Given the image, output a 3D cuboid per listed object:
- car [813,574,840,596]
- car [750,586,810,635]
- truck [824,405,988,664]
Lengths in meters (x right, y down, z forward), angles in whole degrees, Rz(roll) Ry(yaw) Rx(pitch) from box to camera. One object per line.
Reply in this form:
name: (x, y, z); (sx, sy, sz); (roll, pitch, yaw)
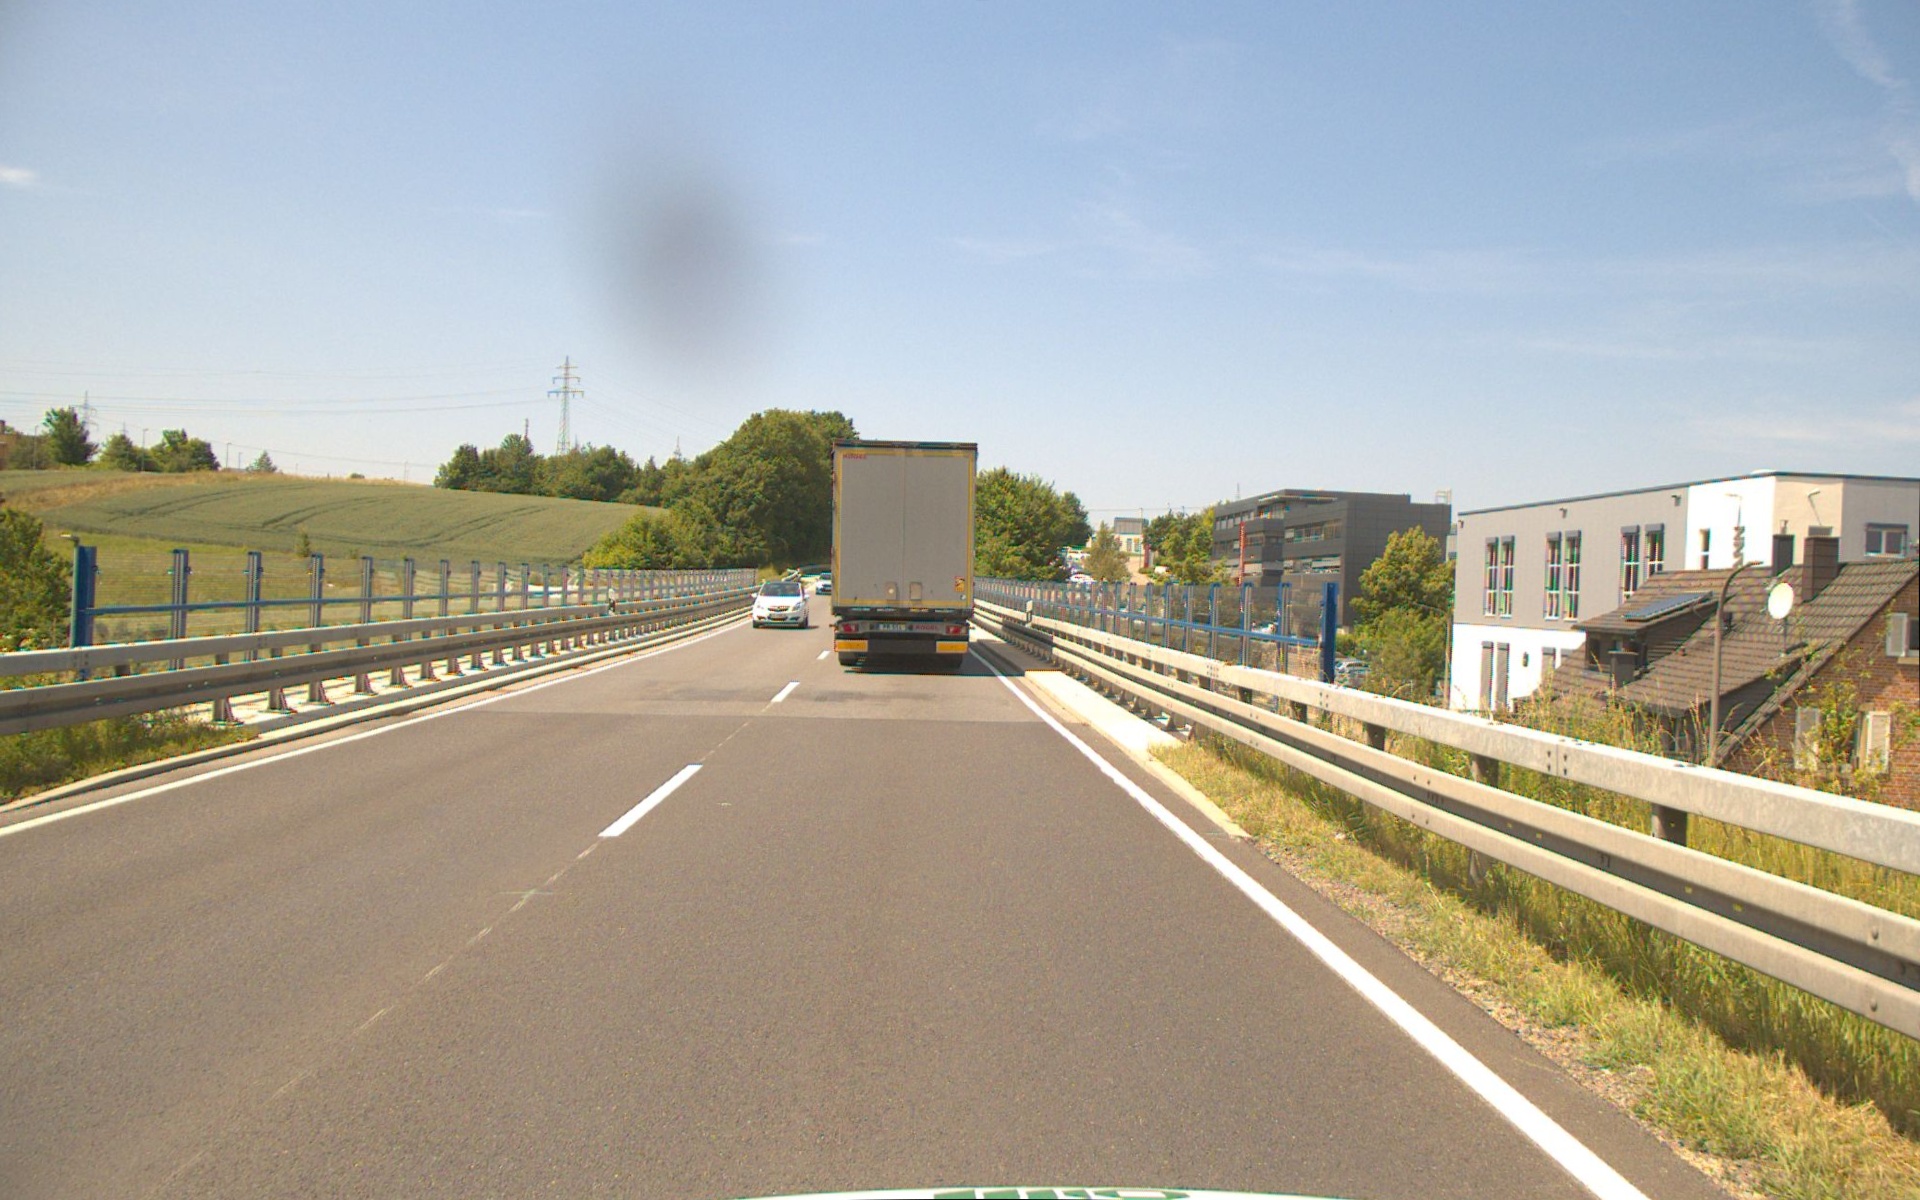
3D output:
car: (-9.054, -1.033, 112.554); (1.746, 1.461, 4.831); (0, 1, -3)
car: (-5.807, 0.312, 53.830); (1.673, 1.531, 4.117); (0, 0, -3)
truck: (-1.229, -1.093, 33.367); (2.809, 4.436, 9.781); (0, 0, -4)
